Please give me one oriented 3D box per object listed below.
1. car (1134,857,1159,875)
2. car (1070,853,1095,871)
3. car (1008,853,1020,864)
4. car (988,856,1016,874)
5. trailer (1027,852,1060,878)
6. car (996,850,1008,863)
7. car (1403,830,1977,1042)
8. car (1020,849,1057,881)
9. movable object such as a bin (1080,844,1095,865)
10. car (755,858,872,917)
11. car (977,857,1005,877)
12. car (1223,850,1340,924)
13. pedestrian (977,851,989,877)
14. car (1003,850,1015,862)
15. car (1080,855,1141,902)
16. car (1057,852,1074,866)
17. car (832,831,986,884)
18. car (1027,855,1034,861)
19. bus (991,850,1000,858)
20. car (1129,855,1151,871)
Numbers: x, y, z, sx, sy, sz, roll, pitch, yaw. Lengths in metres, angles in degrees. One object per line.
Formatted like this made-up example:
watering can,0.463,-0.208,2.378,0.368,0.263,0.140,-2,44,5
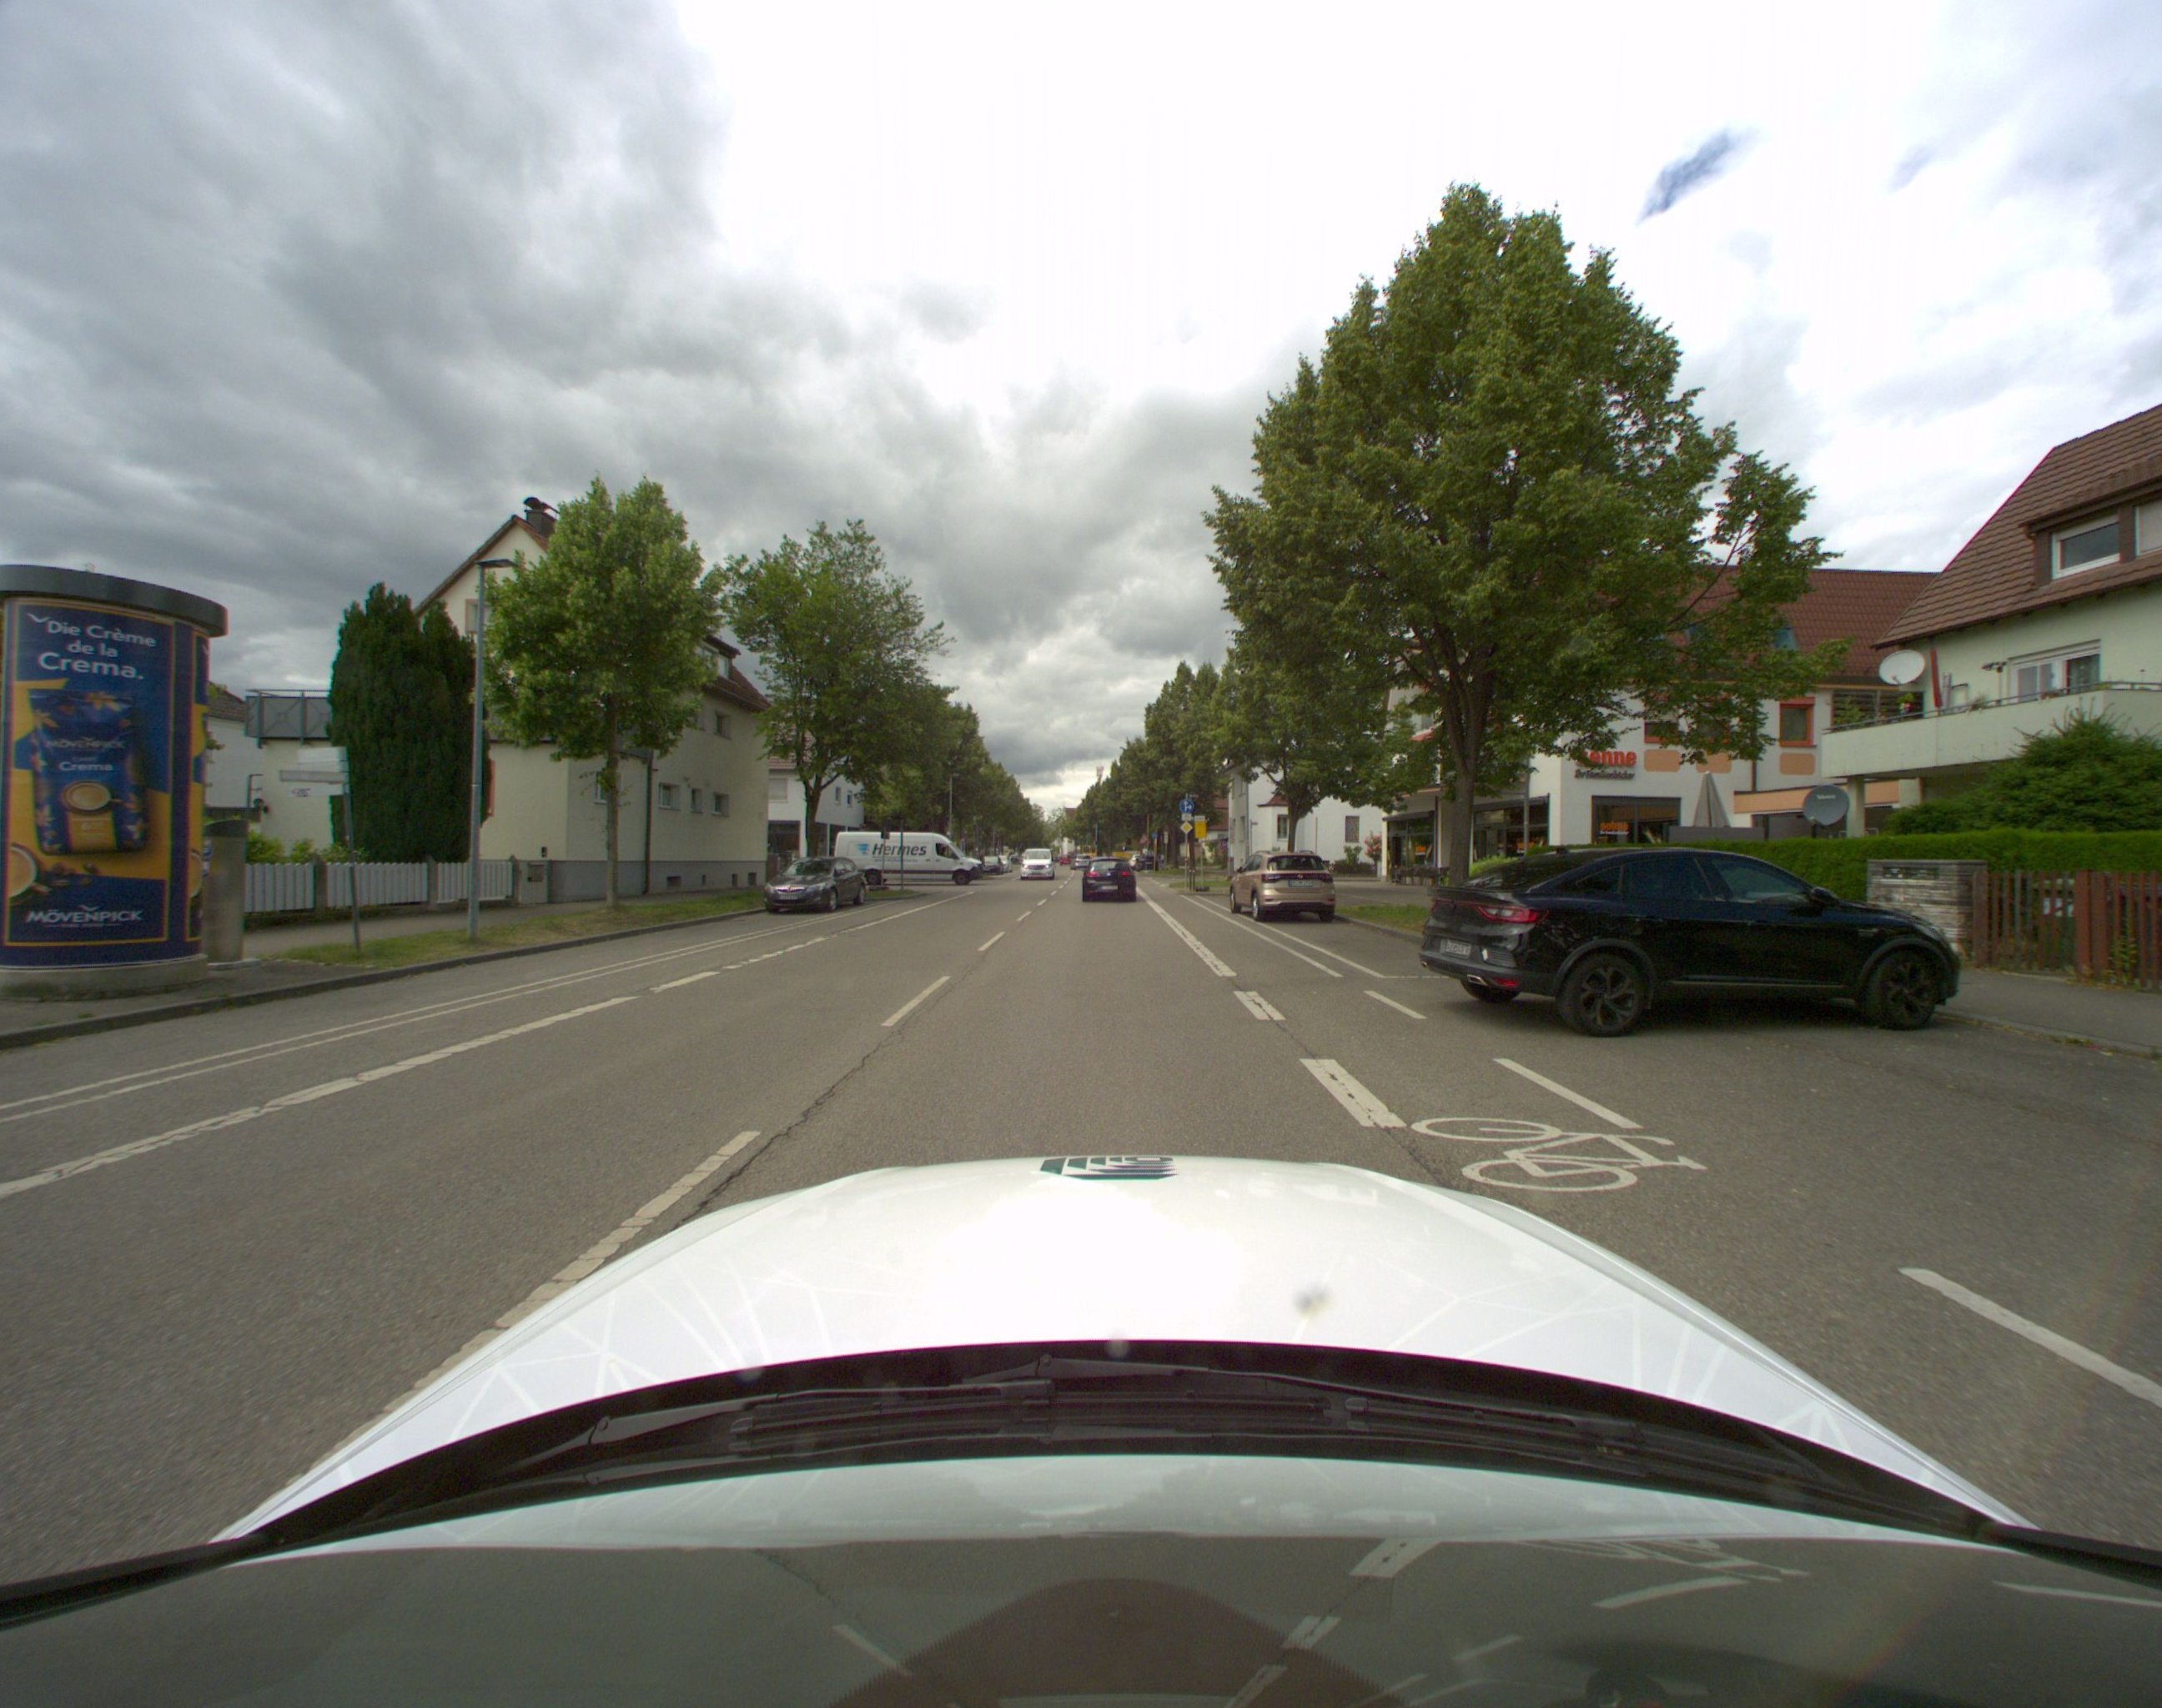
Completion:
car,5.489,0.957,68.472,1.700,1.454,4.615,0,0,0
car,0.133,0.721,76.940,1.904,1.685,3.729,-1,0,-8
car,-10.534,0.708,127.558,1.665,1.772,4.457,-1,0,-7
car,-6.558,0.899,67.770,1.707,1.406,4.302,0,0,2
trailer,-2.451,0.700,54.285,1.931,1.677,4.689,0,0,1
car,-15.537,0.468,159.811,2.091,2.626,5.031,0,0,-7
car,5.415,0.651,7.551,4.210,1.638,1.690,-1,0,-5
car,-2.524,0.629,49.538,1.959,1.830,4.819,0,0,1
movable object such as a bin,0.779,0.073,100.613,1.763,2.574,3.737,0,0,-1
car,-7.417,0.871,23.031,1.724,1.469,4.303,-1,0,2
car,-6.667,0.951,60.843,1.638,1.420,4.019,-1,0,0
car,4.640,0.709,19.401,1.717,1.580,4.059,0,0,-1
pedestrian,-6.332,0.632,52.705,0.539,1.681,0.752,2,1,9
car,-13.281,0.329,149.500,2.091,2.175,5.031,0,0,-7
car,0.910,0.752,27.108,1.814,1.437,3.737,-1,0,-1
car,-1.970,0.623,102.606,1.788,1.623,3.733,-1,0,-5
car,-8.544,0.191,40.959,7.272,2.594,2.218,0,0,-3
car,-13.803,1.110,223.780,1.807,1.415,3.687,0,0,-5
bus,-21.572,0.001,206.165,1.993,2.123,7.337,0,0,-9
car,5.647,0.867,78.379,1.668,1.462,3.997,0,0,-2
